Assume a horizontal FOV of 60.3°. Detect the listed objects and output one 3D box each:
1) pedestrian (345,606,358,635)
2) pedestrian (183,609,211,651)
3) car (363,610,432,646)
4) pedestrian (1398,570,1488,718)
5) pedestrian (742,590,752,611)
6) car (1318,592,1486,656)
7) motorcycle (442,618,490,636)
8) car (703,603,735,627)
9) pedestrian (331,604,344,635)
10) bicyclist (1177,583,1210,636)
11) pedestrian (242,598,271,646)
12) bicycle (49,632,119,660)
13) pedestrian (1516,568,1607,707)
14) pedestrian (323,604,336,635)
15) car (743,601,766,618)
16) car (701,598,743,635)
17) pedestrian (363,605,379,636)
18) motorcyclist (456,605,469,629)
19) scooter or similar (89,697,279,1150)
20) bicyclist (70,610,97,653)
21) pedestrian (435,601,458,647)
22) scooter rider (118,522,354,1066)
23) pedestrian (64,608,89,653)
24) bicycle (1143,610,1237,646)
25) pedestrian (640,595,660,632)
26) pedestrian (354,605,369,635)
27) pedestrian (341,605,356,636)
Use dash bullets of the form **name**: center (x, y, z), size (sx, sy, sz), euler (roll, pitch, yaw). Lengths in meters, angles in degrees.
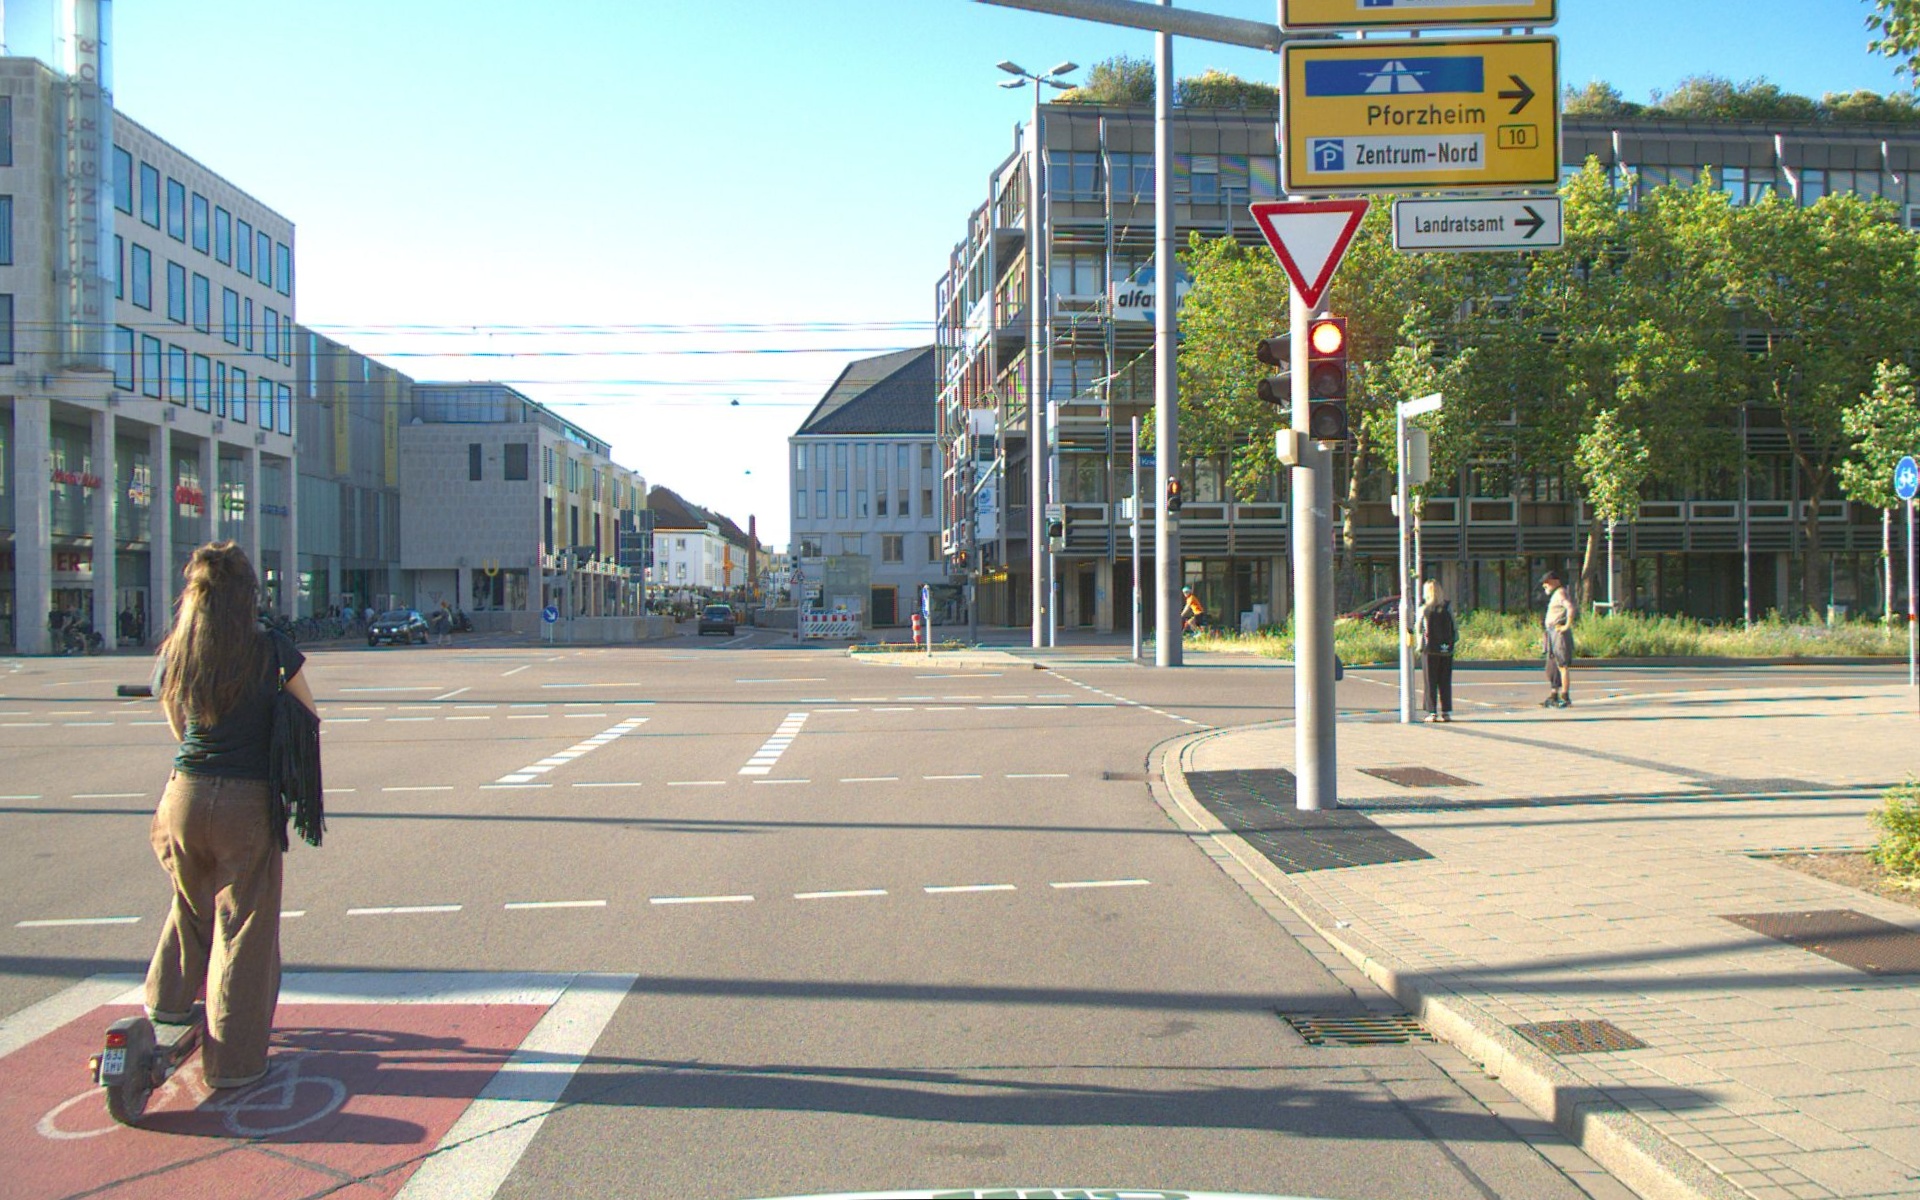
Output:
- **pedestrian**: center (-35.383, 1.201, 96.221), size (0.462, 1.712, 0.518), euler (0, -1, 38)
- **pedestrian**: center (-30.176, 1.181, 65.444), size (0.760, 1.667, 0.626), euler (-1, 0, 15)
- **car**: center (-23.567, 1.159, 69.436), size (1.642, 1.381, 4.019), euler (-1, 0, -2)
- **pedestrian**: center (5.522, 0.488, 18.950), size (0.750, 1.642, 0.874), euler (-1, 0, -2)
- **pedestrian**: center (-21.156, 0.050, 164.362), size (0.892, 1.999, 0.822), euler (1, -1, -1)
- **car**: center (12.426, 0.647, 46.615), size (4.212, 1.713, 1.820), euler (-1, 0, -11)
- **motorcycle**: center (-29.109, 1.585, 97.482), size (2.555, 1.010, 1.113), euler (1, 0, -10)
- **car**: center (-15.701, 0.963, 107.824), size (1.625, 1.484, 3.541), euler (-1, 0, -1)
- **pedestrian**: center (-36.115, 1.131, 95.993), size (0.462, 1.759, 0.518), euler (0, -1, 38)
- **bicyclist**: center (6.675, 0.277, 47.225), size (0.806, 1.500, 0.652), euler (-1, 0, -5)
- **pedestrian**: center (-27.609, 0.862, 64.922), size (0.923, 1.897, 0.539), euler (-1, 0, 16)
- **bicycle**: center (-30.423, 1.585, 57.452), size (0.623, 0.919, 2.217), euler (-1, 0, 25)
- **pedestrian**: center (7.705, 0.471, 21.226), size (0.854, 1.736, 0.768), euler (-1, 0, -3)
- **pedestrian**: center (-36.009, 1.126, 94.443), size (0.462, 1.759, 0.518), euler (0, -1, 38)
- **car**: center (-18.039, 0.836, 145.279), size (1.625, 1.484, 3.541), euler (-1, 0, -1)
- **car**: center (-11.367, 0.777, 79.057), size (1.784, 1.713, 3.995), euler (-1, 0, -6)
- **pedestrian**: center (-33.569, 1.167, 94.213), size (0.462, 1.759, 0.692), euler (0, -1, 37)
- **motorcyclist**: center (-29.341, 0.999, 97.466), size (0.616, 1.430, 0.661), euler (1, -1, -9)
- **scooter or similar**: center (-2.207, 0.870, 4.756), size (0.301, 1.127, 0.836), euler (-1, 0, -12)
- **bicyclist**: center (-30.421, 1.090, 57.399), size (0.614, 1.473, 0.588), euler (-1, 0, 26)
- **pedestrian**: center (-19.546, 0.913, 62.962), size (0.685, 1.718, 0.619), euler (-1, 0, 0)
- **scooter rider**: center (-2.173, 0.554, 5.011), size (0.542, 1.556, 0.448), euler (-1, 0, -9)
- **pedestrian**: center (-32.708, 1.122, 61.266), size (0.580, 1.674, 0.629), euler (-1, 0, -1)
- **bicycle**: center (6.553, 0.796, 47.206), size (2.517, 0.992, 1.047), euler (-1, 0, -4)
- **pedestrian**: center (-15.656, 0.681, 83.496), size (0.881, 1.814, 0.808), euler (0, 0, -1)
- **pedestrian**: center (-34.778, 1.154, 96.130), size (0.461, 1.759, 0.627), euler (1, -1, 28)
- **pedestrian**: center (-34.491, 1.152, 93.273), size (0.462, 1.759, 0.626), euler (1, -1, 33)
